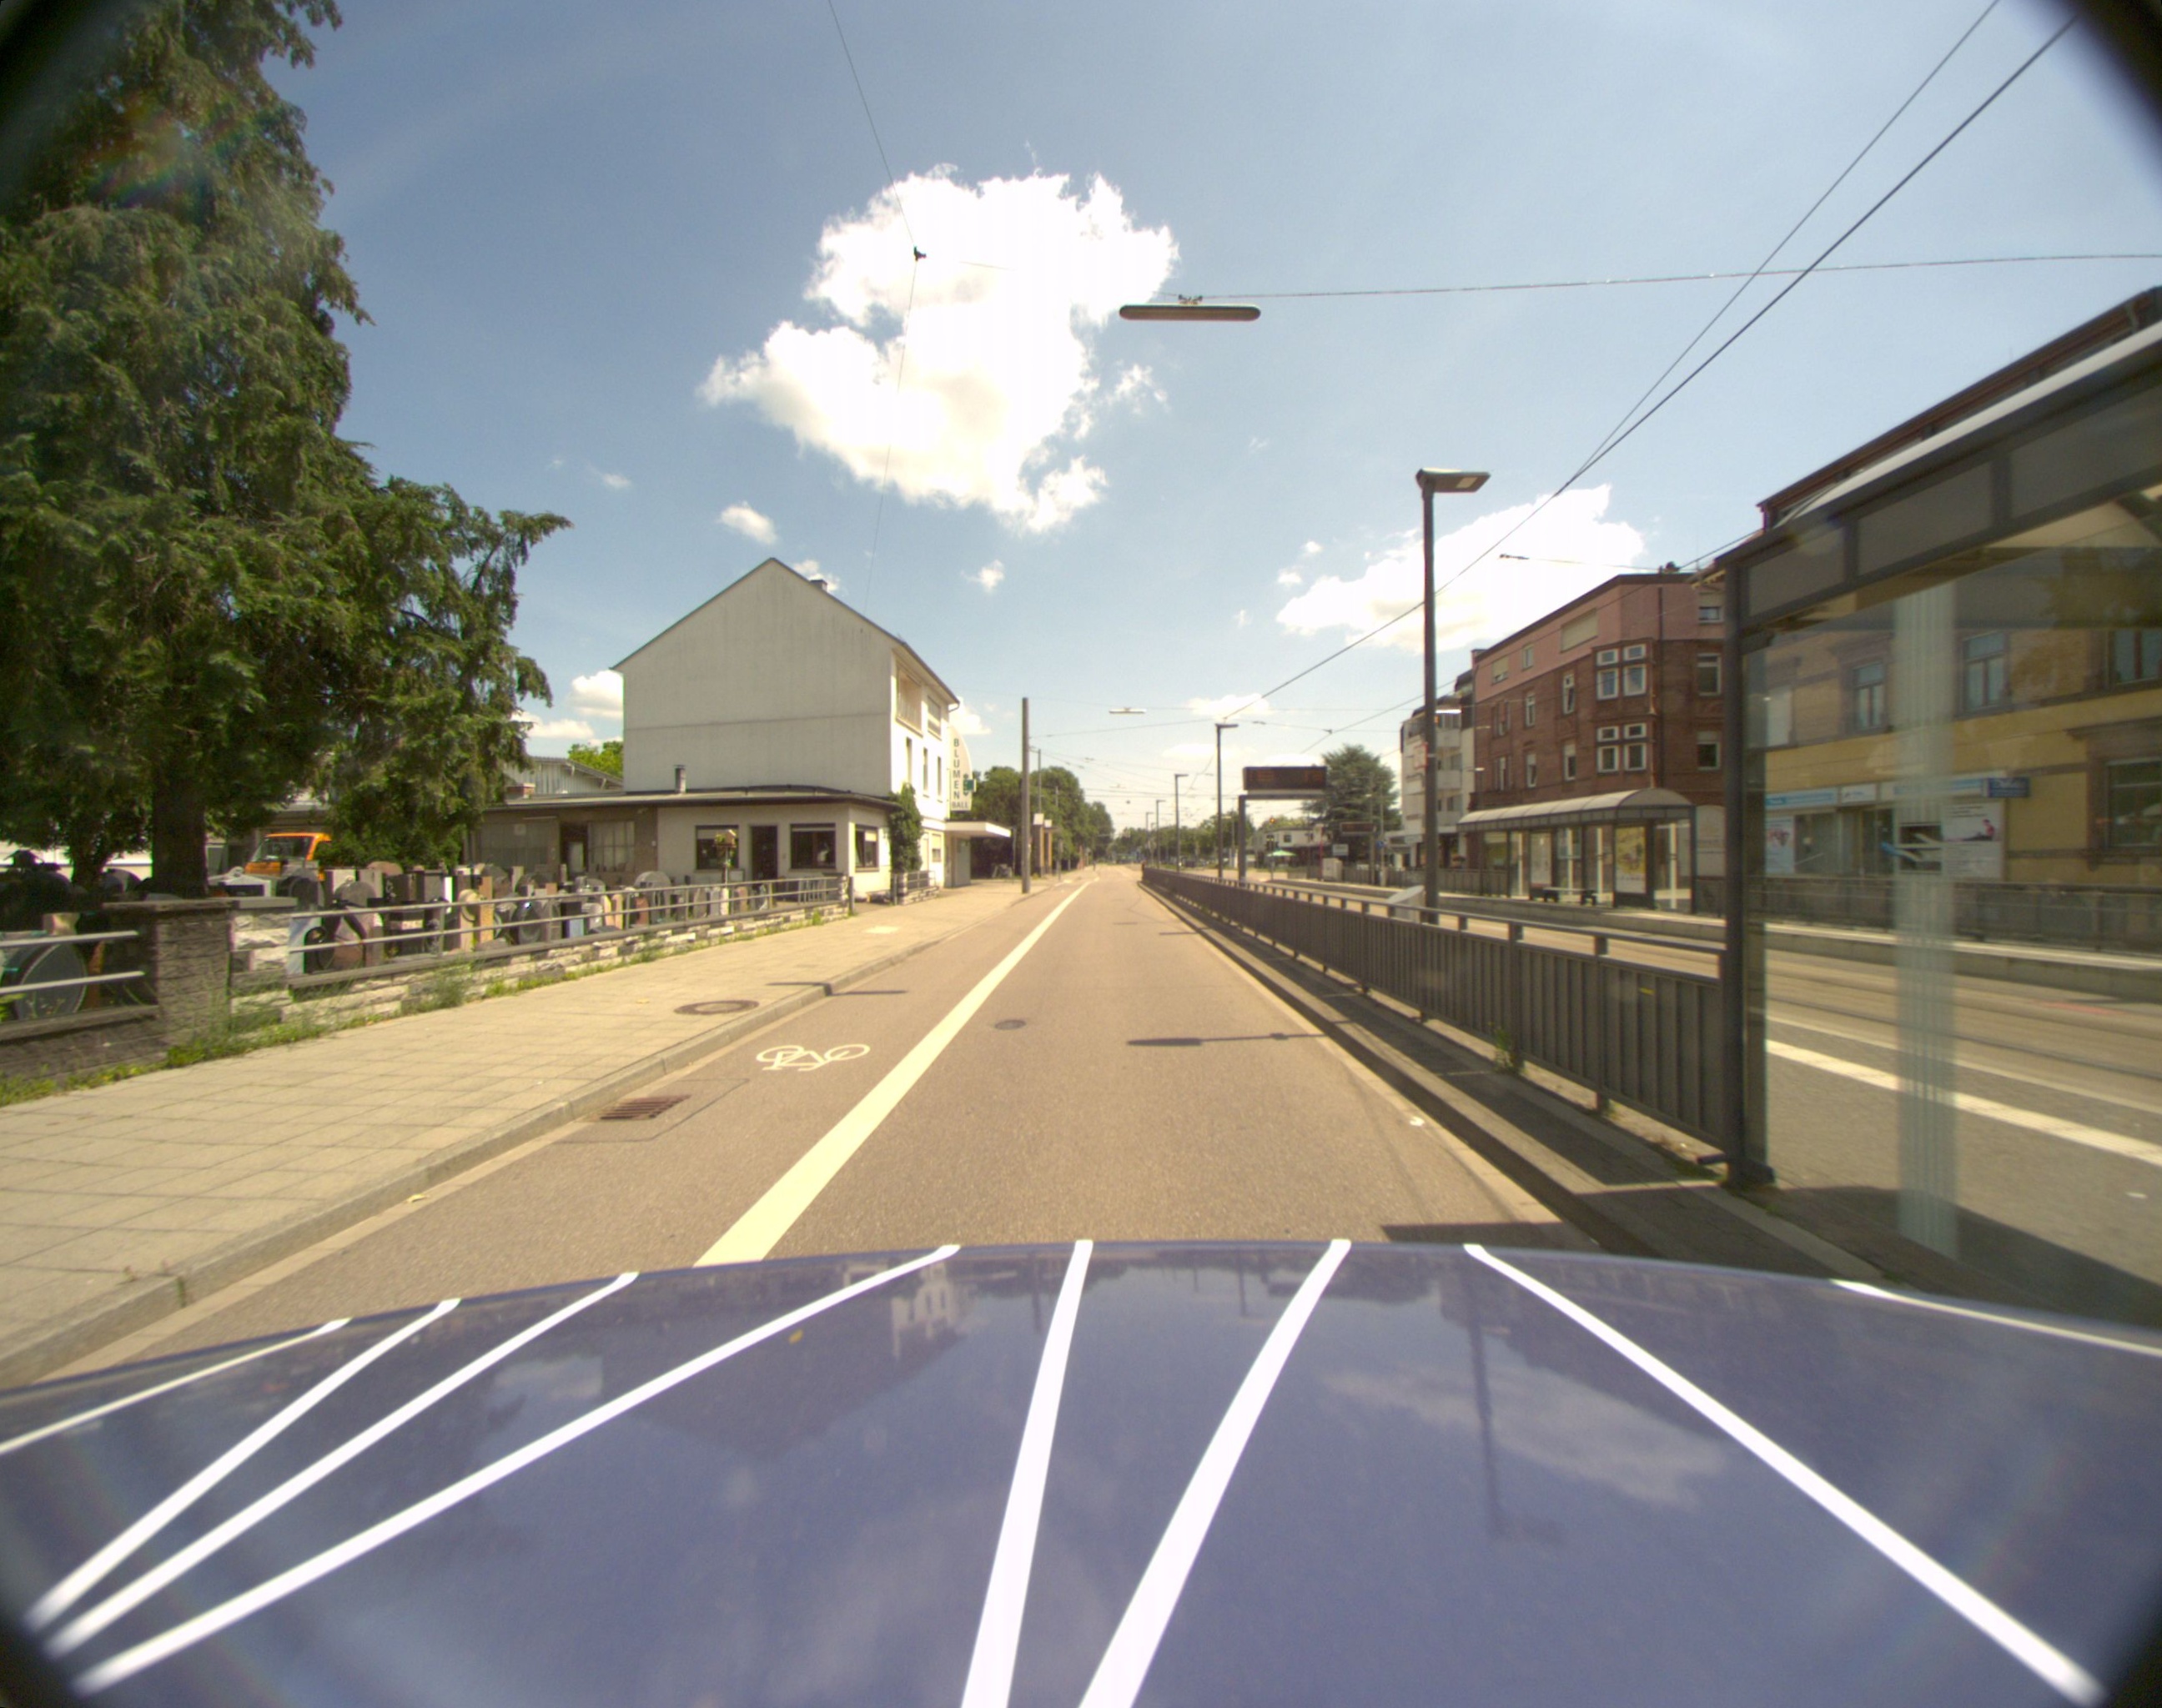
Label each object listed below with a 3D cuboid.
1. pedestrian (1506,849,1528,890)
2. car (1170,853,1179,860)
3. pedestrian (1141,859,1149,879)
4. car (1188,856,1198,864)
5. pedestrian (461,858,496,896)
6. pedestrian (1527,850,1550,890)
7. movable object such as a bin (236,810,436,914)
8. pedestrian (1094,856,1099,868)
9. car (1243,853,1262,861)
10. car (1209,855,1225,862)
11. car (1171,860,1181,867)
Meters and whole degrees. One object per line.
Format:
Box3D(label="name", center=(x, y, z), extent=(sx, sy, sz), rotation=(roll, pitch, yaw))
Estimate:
Box3D(label="pedestrian", center=(21.974, 0.767, 38.304), extent=(0.678, 2.002, 0.685), rotation=(-1, 1, 0))
Box3D(label="car", center=(29.440, 0.873, 239.106), extent=(2.071, 2.089, 4.489), rotation=(-2, 0, 0))
Box3D(label="pedestrian", center=(5.021, 1.165, 59.807), extent=(0.578, 1.547, 0.786), rotation=(1, 1, 5))
Box3D(label="car", center=(22.177, 1.200, 150.253), extent=(1.727, 1.673, 4.281), rotation=(1, -1, 5))
Box3D(label="pedestrian", center=(-21.193, 0.791, 26.723), extent=(0.646, 1.283, 0.717), rotation=(1, 1, 3))
Box3D(label="pedestrian", center=(22.975, 0.793, 38.158), extent=(0.619, 2.002, 0.810), rotation=(0, 0, 0))
Box3D(label="movable object such as a bin", center=(-20.746, 0.189, 21.398), extent=(1.743, 2.604, 3.809), rotation=(1, 1, 4))
Box3D(label="pedestrian", center=(2.451, 1.260, 117.510), extent=(0.767, 1.841, 0.718), rotation=(0, 0, -1))
Box3D(label="car", center=(53.760, 0.816, 238.244), extent=(5.697, 2.467, 2.260), rotation=(0, 0, -1))
Box3D(label="car", center=(36.088, 1.184, 202.216), extent=(3.996, 1.726, 1.803), rotation=(1, 1, 3))
Box3D(label="car", center=(22.024, 2.215, 175.944), extent=(1.998, 1.463, 4.402), rotation=(0, 0, 2))
